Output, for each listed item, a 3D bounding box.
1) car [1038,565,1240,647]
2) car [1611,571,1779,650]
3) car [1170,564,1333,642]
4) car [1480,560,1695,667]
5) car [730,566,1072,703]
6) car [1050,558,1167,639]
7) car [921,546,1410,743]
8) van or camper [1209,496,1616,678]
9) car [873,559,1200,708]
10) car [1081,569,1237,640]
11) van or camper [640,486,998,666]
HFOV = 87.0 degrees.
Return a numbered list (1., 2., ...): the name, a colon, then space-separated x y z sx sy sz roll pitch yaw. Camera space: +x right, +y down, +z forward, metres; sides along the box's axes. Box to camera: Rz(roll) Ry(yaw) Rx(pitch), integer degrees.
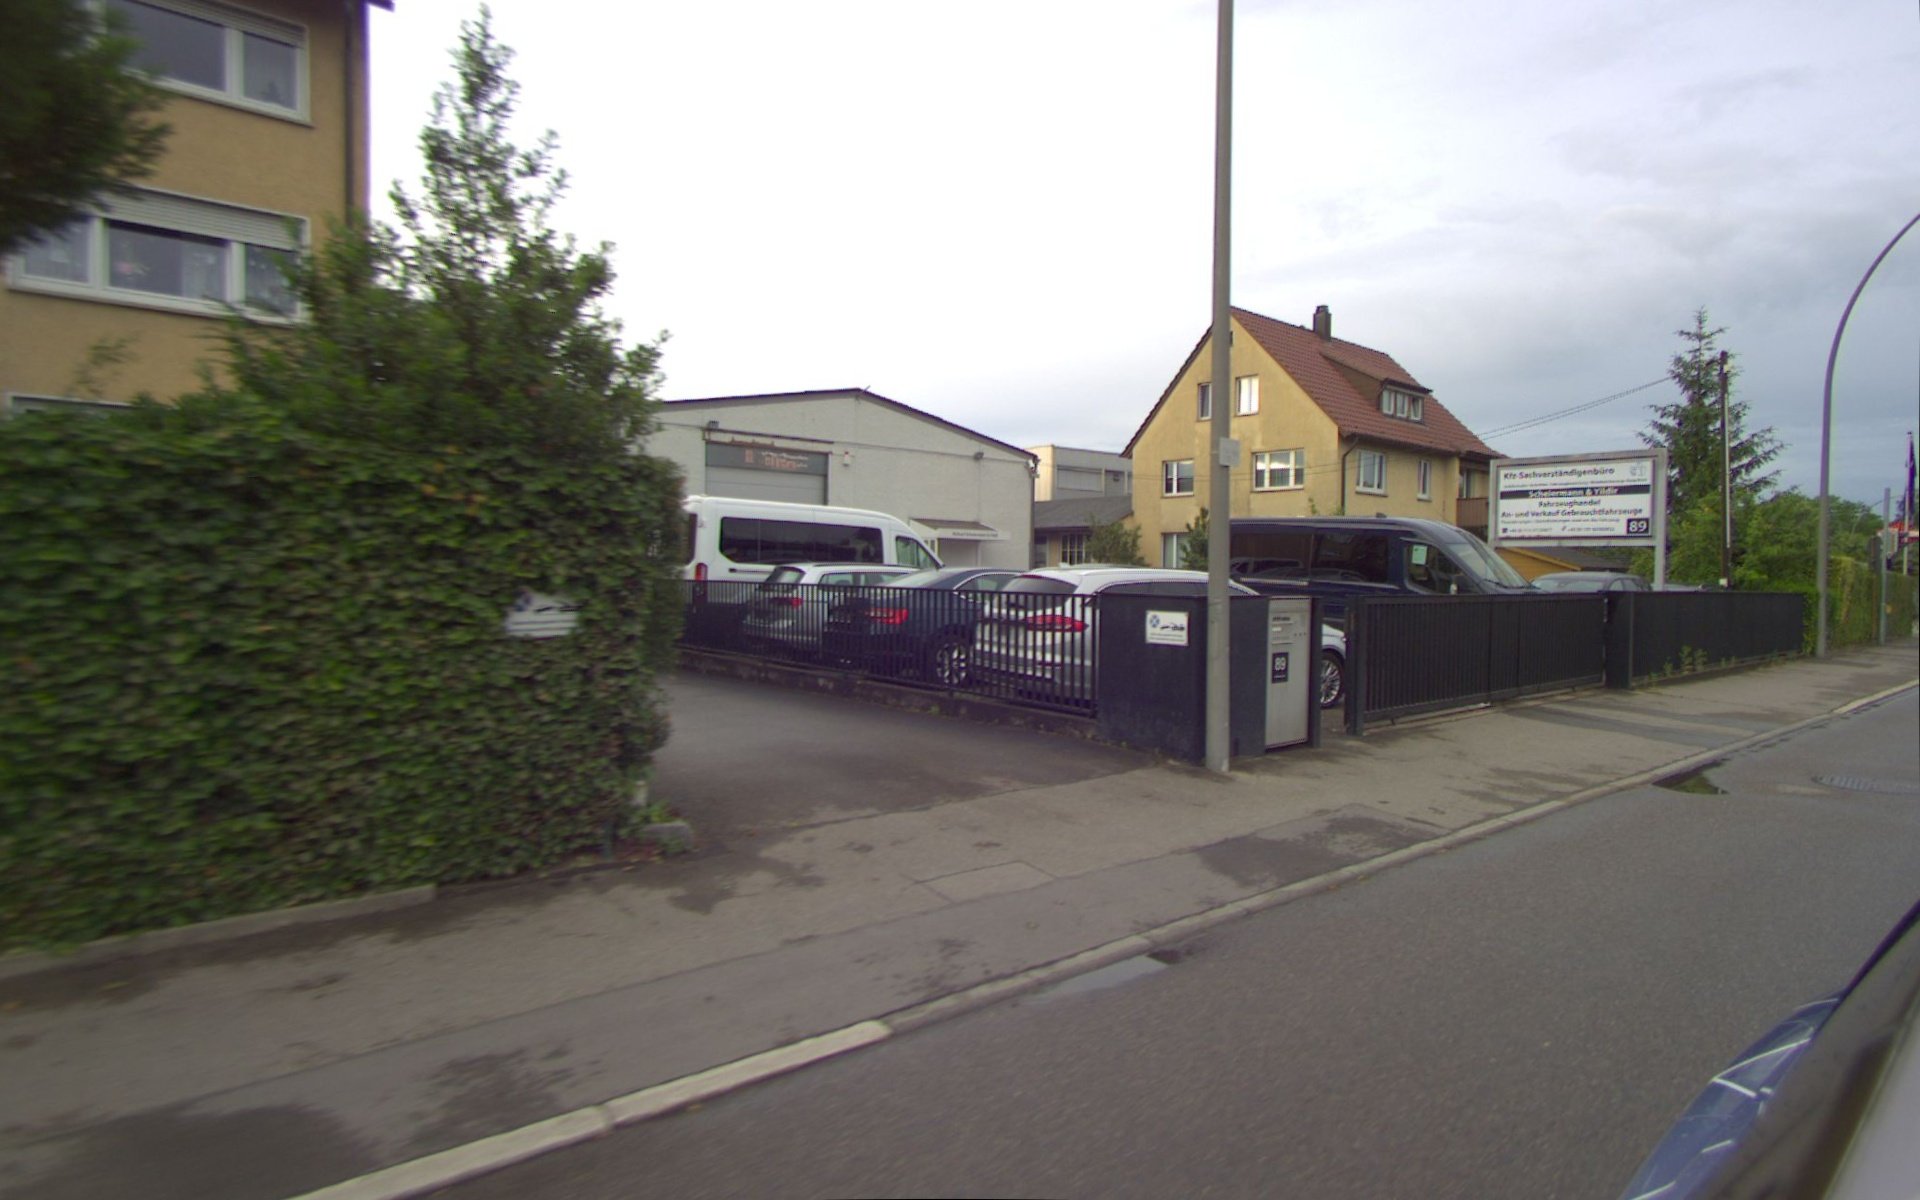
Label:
1. car: 3.684 0.040 21.583 1.677 1.501 4.340 -1 3 -35
2. car: 15.156 0.189 20.807 4.166 1.475 1.665 -1 -1 -38
3. car: 6.959 0.024 24.005 3.894 1.618 1.634 -3 1 -37
4. car: 11.180 0.165 17.920 4.483 1.586 1.666 -3 1 -37
5. car: -0.865 0.421 15.441 4.723 1.671 2.098 -3 1 -28
6. car: 4.175 -0.063 28.216 3.085 2.076 1.577 -3 0 -43
7. car: 2.362 0.347 11.305 5.131 1.671 2.130 -3 1 -28
8. van or camper: 7.245 -0.234 16.940 2.094 2.516 5.918 -3 2 -38
9. car: 1.067 0.363 13.814 4.016 1.671 1.892 -3 1 -28
10. car: 5.133 0.084 25.874 3.927 1.572 1.666 -3 1 -37
11. van or camper: -2.331 -0.517 17.828 5.906 2.713 2.066 -3 3 -34
